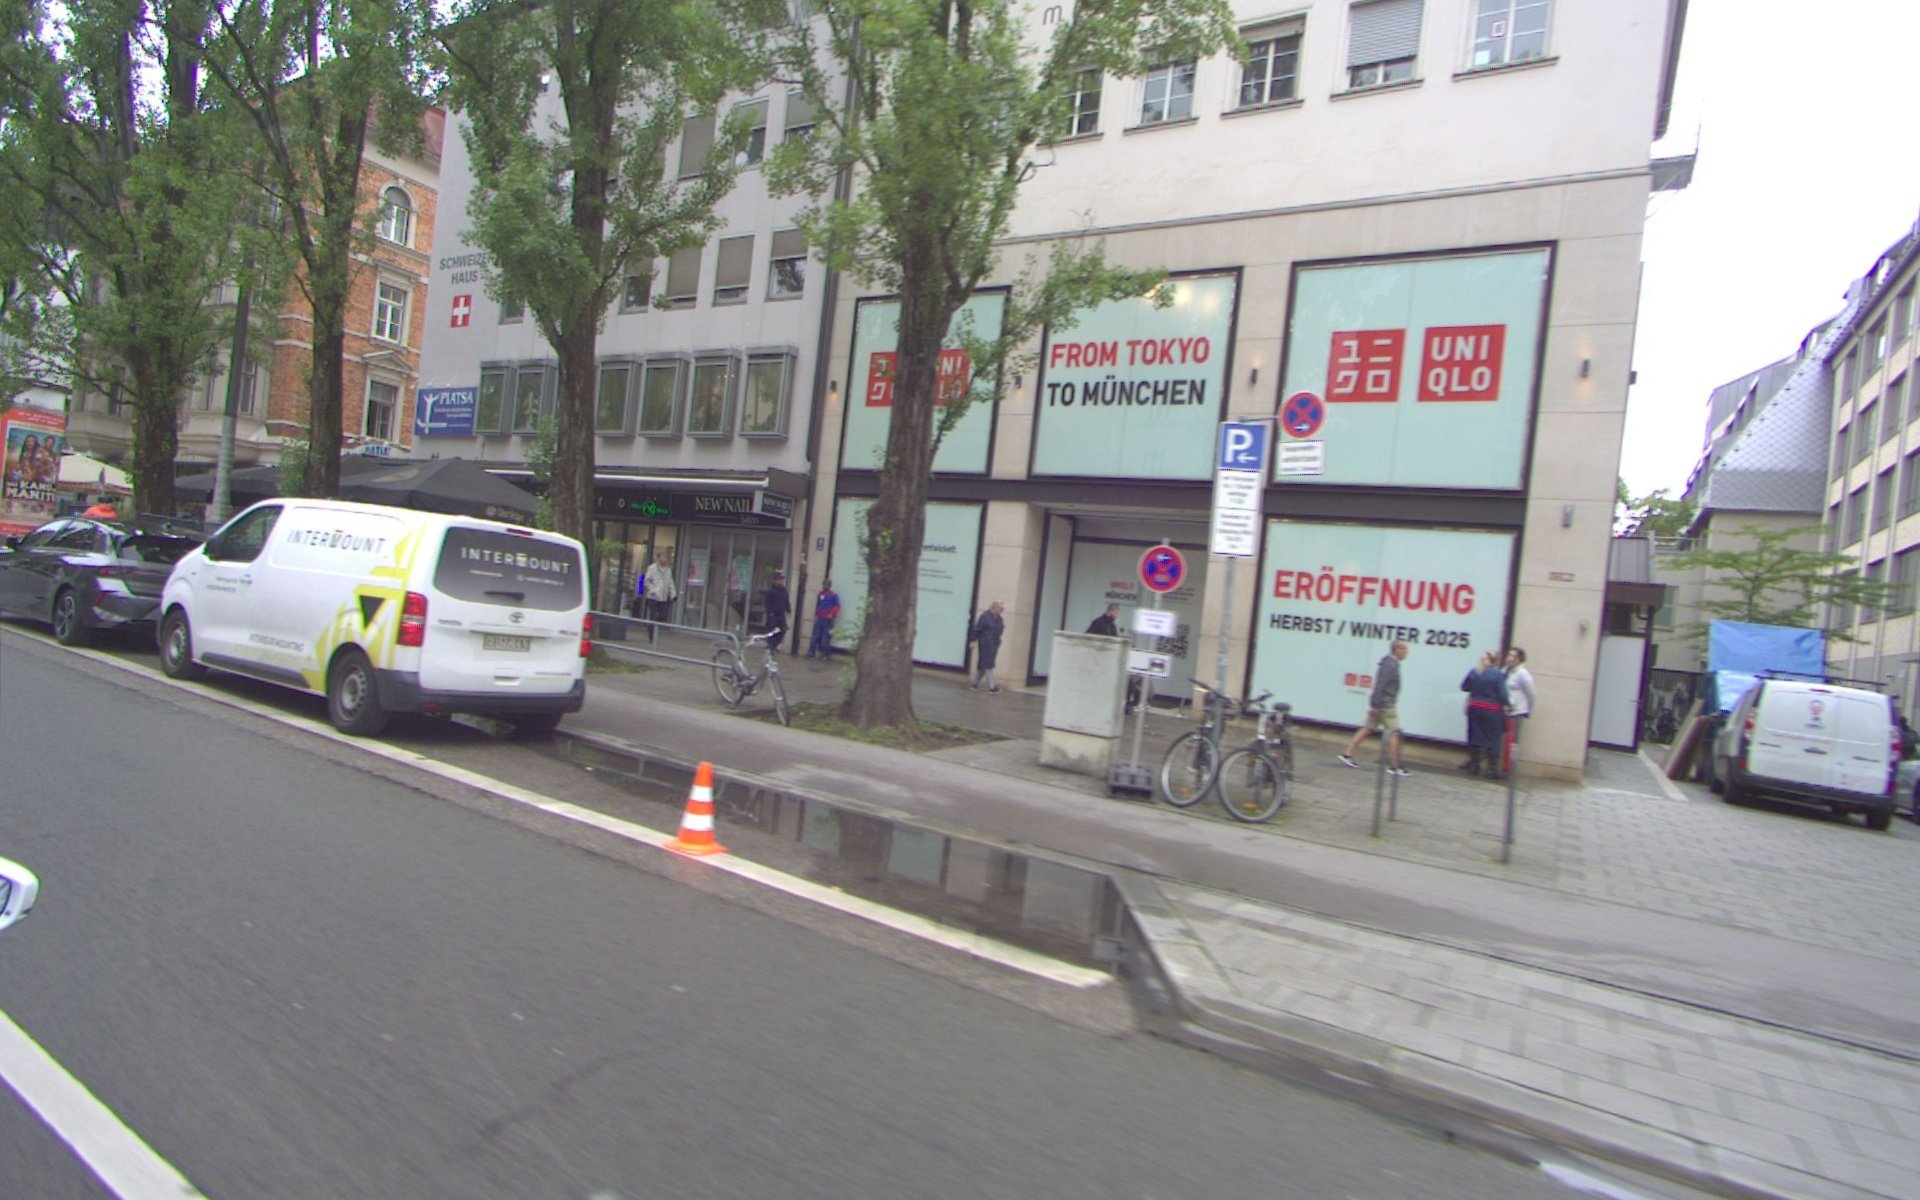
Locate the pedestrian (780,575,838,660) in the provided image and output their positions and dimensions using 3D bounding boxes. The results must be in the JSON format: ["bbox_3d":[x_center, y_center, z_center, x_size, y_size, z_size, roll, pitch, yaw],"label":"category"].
[{"bbox_3d":[-3.105,0.361,20.725,0.759,1.628,0.670,6,-1,35],"label":"pedestrian"}]

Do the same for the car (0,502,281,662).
[{"bbox_3d":[-10.496,-0.276,12.367,4.280,1.458,1.724,6,-2,30],"label":"car"}]

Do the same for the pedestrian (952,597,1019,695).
[{"bbox_3d":[0.459,0.821,17.979,0.814,1.629,0.671,7,0,29],"label":"pedestrian"}]

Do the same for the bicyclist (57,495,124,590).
[{"bbox_3d":[-15.818,-1.043,18.305,0.740,1.608,0.622,7,1,31],"label":"bicyclist"}]

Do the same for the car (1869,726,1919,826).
[{"bbox_3d":[16.191,2.909,15.974,1.870,1.404,4.303,7,-1,34],"label":"car"}]

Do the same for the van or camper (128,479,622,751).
[{"bbox_3d":[-5.703,0.044,9.609,4.821,1.905,1.871,6,-1,32],"label":"van or camper"}]

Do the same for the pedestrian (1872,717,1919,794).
[{"bbox_3d":[22.013,3.611,23.560,0.741,1.643,0.959,7,1,37],"label":"pedestrian"}]

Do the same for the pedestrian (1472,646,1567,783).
[{"bbox_3d":[7.812,1.571,14.037,0.947,1.739,0.751,7,0,32],"label":"pedestrian"}]

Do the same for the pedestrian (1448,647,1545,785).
[{"bbox_3d":[7.212,1.532,13.515,0.947,1.683,0.653,6,0,32],"label":"pedestrian"}]

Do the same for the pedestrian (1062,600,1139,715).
[{"bbox_3d":[2.327,0.949,16.719,0.856,1.786,0.680,6,0,-24],"label":"pedestrian"}]

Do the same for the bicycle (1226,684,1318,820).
[{"bbox_3d":[2.911,1.344,9.290,0.475,1.057,1.762,7,-1,25],"label":"bicycle"}]

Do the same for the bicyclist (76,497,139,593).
[{"bbox_3d":[-15.177,-0.977,17.916,0.473,1.608,0.622,7,1,31],"label":"bicyclist"}]

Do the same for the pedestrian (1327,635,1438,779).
[{"bbox_3d":[5.453,1.356,13.057,0.968,1.694,0.826,7,0,7],"label":"pedestrian"}]

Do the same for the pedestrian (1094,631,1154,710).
[{"bbox_3d":[2.810,1.201,17.191,0.673,1.249,0.670,7,0,33],"label":"pedestrian"}]

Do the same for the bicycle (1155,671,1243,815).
[{"bbox_3d":[2.296,1.296,9.542,0.440,1.125,1.742,7,1,22],"label":"bicycle"}]

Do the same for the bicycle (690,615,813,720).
[{"bbox_3d":[-2.540,0.791,12.141,1.705,1.050,0.364,6,0,40],"label":"bicycle"}]

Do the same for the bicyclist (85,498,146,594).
[{"bbox_3d":[-14.888,-0.947,17.735,0.385,1.608,0.622,7,1,31],"label":"bicyclist"}]

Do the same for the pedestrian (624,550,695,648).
[{"bbox_3d":[-6.138,-0.022,20.523,0.824,1.864,1.086,6,0,-44],"label":"pedestrian"}]

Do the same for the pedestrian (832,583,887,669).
[{"bbox_3d":[-2.018,0.522,20.223,0.673,1.629,0.670,7,0,32],"label":"pedestrian"}]

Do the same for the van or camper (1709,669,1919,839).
[{"bbox_3d":[12.286,2.166,14.679,1.868,1.888,4.109,6,-2,35],"label":"van or camper"}]

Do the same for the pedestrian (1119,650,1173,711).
[{"bbox_3d":[3.247,1.405,17.594,0.661,0.981,0.571,7,0,33],"label":"pedestrian"}]
